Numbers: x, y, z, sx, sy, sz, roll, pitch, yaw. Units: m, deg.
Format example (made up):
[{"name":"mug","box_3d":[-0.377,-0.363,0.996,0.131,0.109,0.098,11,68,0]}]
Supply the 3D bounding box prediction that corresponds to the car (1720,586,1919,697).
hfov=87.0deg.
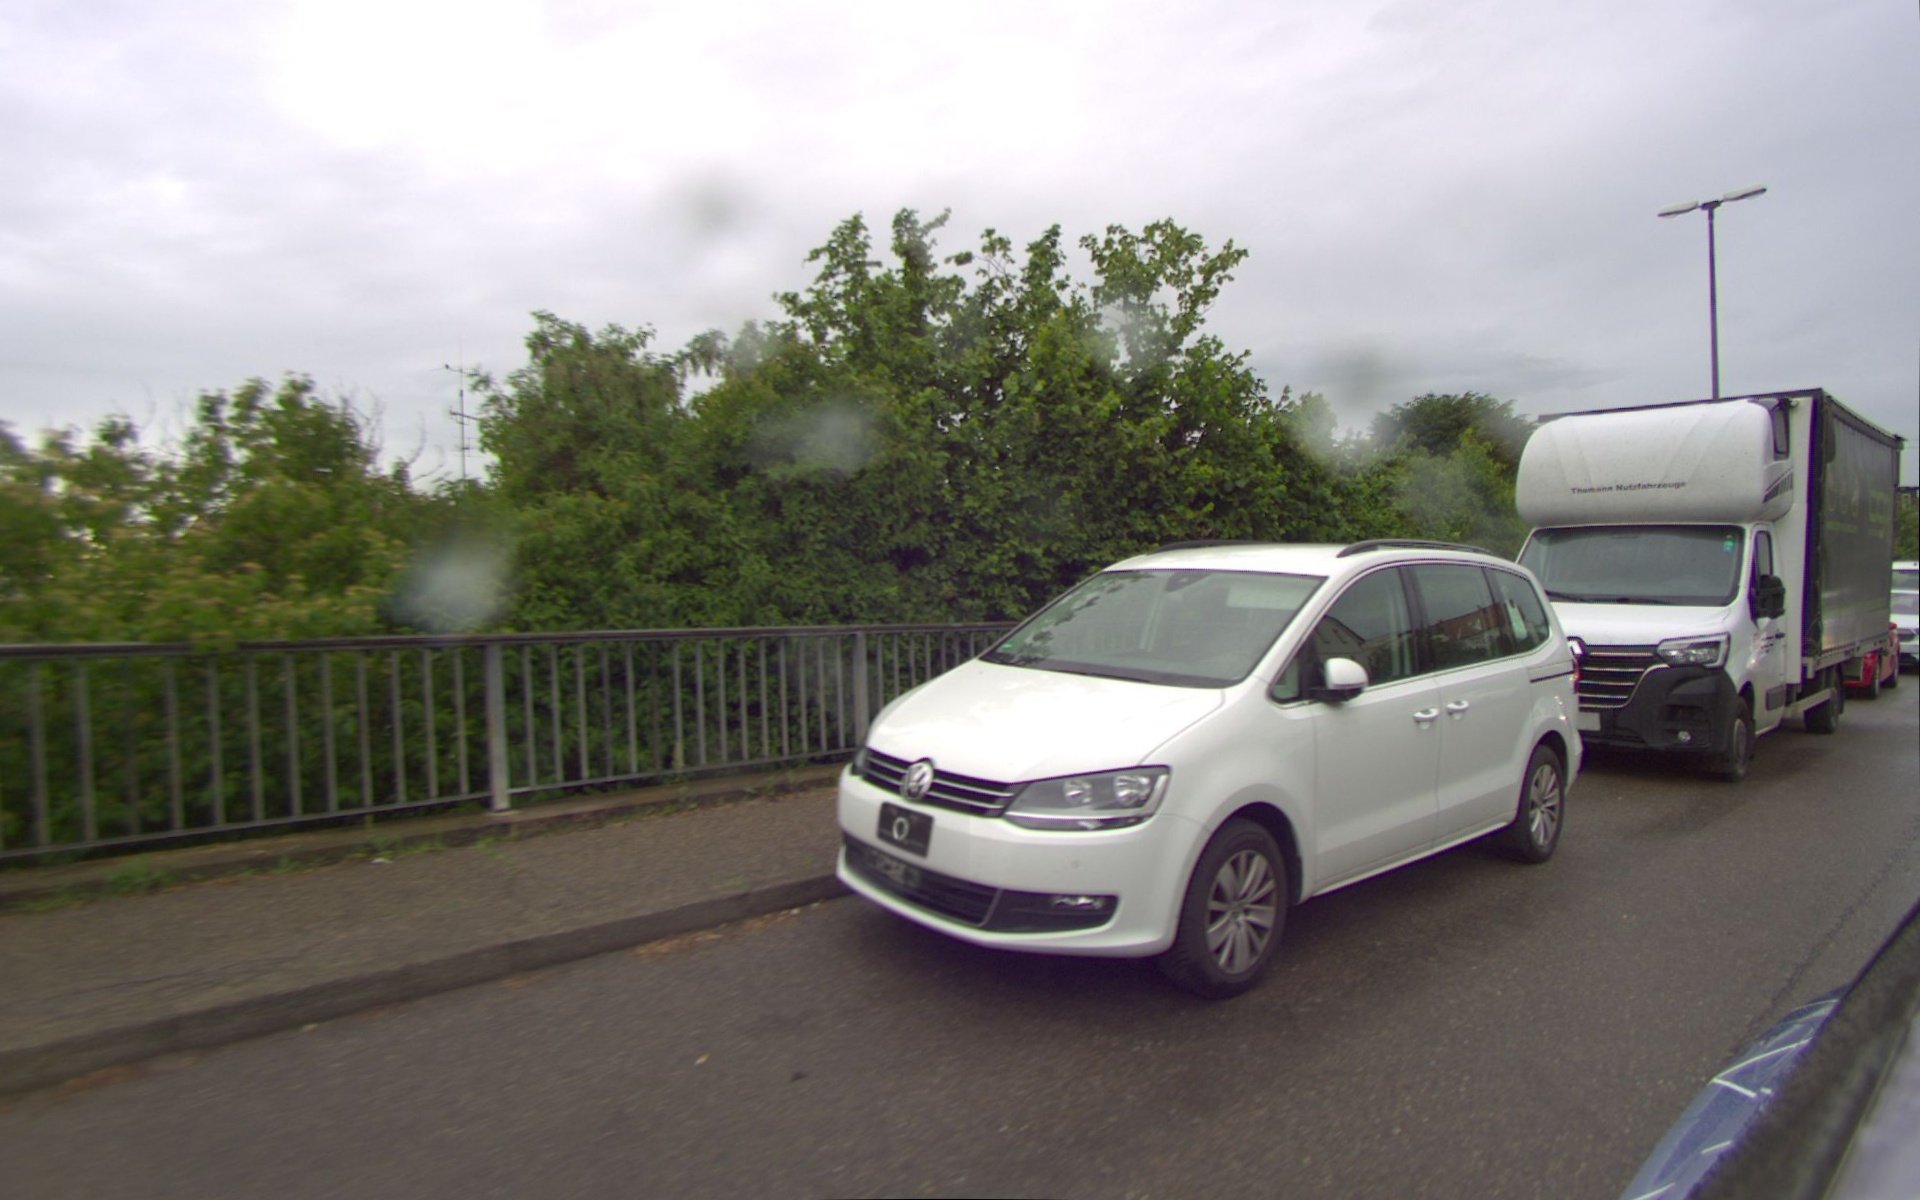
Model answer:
[{"name":"car","box_3d":[13.706,0.525,15.962,4.901,1.455,1.835,-1,2,-42]}]

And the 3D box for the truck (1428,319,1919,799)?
[{"name":"truck","box_3d":[7.906,-0.371,10.633,7.827,3.376,2.440,-1,2,-41]}]

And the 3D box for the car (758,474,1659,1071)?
[{"name":"car","box_3d":[1.824,0.433,5.417,5.541,1.704,1.849,-1,2,-41]}]

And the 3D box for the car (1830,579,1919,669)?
[{"name":"car","box_3d":[18.979,0.396,20.268,4.586,1.624,1.762,-1,2,-42]}]

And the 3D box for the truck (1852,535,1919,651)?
[{"name":"truck","box_3d":[24.495,-0.201,25.366,6.423,2.664,2.244,-1,2,-40]}]
